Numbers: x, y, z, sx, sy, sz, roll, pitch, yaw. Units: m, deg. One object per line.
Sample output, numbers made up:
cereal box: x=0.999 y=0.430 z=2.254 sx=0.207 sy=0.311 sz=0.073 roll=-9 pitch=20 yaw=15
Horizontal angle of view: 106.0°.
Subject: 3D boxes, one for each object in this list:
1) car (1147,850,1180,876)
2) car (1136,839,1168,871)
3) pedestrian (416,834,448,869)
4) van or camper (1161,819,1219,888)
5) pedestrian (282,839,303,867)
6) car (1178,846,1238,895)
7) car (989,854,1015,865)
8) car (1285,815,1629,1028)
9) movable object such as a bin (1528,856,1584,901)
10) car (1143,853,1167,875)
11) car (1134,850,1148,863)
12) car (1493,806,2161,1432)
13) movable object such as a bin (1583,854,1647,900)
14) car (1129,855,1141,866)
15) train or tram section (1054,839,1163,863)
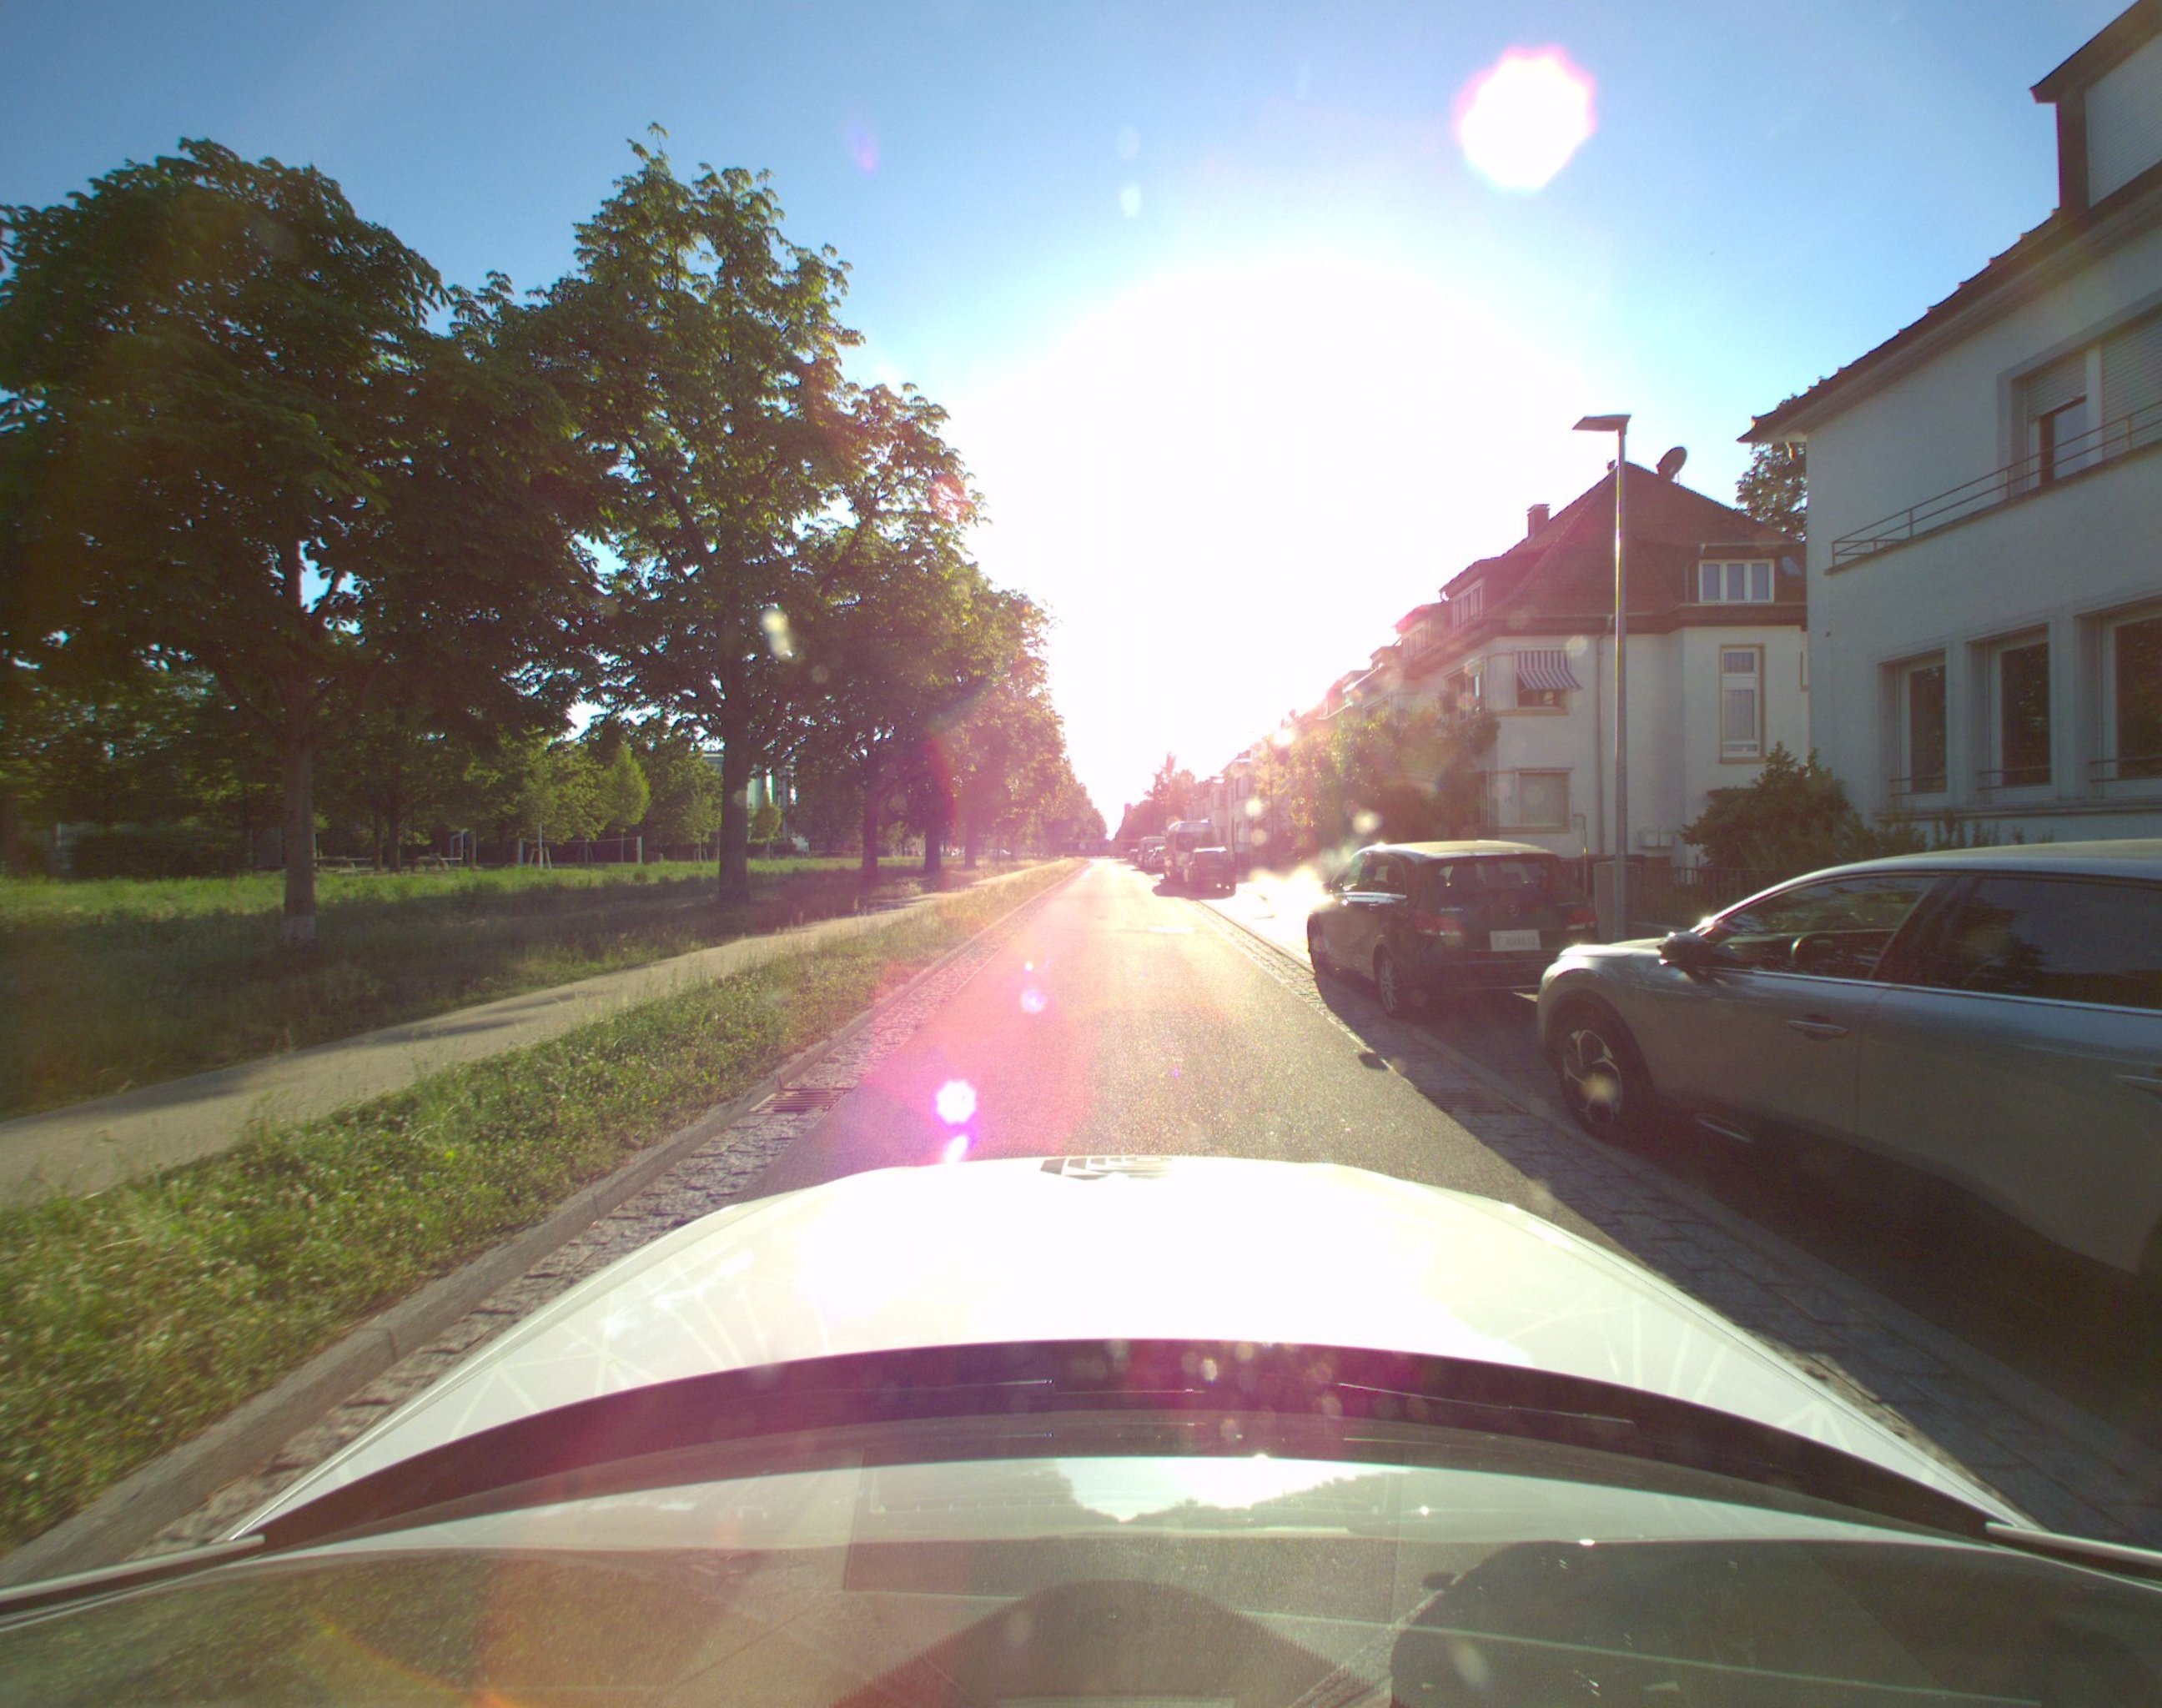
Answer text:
car: x=5.497 y=0.593 z=54.751 sx=1.831 sy=1.636 sz=4.131 roll=-1 pitch=0 yaw=1
car: x=5.734 y=0.072 z=66.345 sx=2.119 sy=2.532 sz=5.188 roll=-1 pitch=0 yaw=0
pedestrian: x=-35.433 y=-0.127 z=44.475 sx=1.044 sy=1.881 sz=0.798 roll=1 pitch=-1 yaw=4
van or camper: x=4.731 y=0.011 z=36.126 sx=1.936 sy=2.777 sz=5.943 roll=1 pitch=-1 yaw=2
pedestrian: x=-41.824 y=-0.061 z=43.199 sx=0.587 sy=1.478 sz=0.499 roll=1 pitch=-1 yaw=-8
car: x=4.545 y=0.573 z=29.741 sx=1.657 sy=1.593 sz=4.088 roll=-2 pitch=0 yaw=2
car: x=-13.552 y=1.008 z=139.841 sx=4.341 sy=1.764 sz=1.995 roll=1 pitch=-1 yaw=-7
car: x=3.664 y=0.538 z=8.947 sx=1.825 sy=1.685 sz=4.418 roll=-3 pitch=0 yaw=2
movable object such as a bin: x=11.920 y=0.602 z=20.455 sx=0.980 sy=1.100 sz=0.790 roll=1 pitch=-1 yaw=5
car: x=5.376 y=0.683 z=59.524 sx=1.643 sy=1.530 sz=3.854 roll=-1 pitch=0 yaw=3
car: x=7.198 y=0.330 z=98.281 sx=1.643 sy=1.530 sz=3.854 roll=-1 pitch=0 yaw=3
car: x=3.526 y=0.641 z=3.066 sx=1.713 sy=1.574 sz=4.208 roll=-2 pitch=0 yaw=-1
movable object such as a bin: x=13.239 y=0.555 z=20.216 sx=1.079 sy=1.100 sz=0.790 roll=1 pitch=-1 yaw=5
car: x=7.656 y=0.916 z=115.149 sx=1.643 sy=1.530 sz=3.854 roll=-1 pitch=0 yaw=3
train or tram section: x=5.000 y=-0.483 z=150.190 sx=19.734 sy=3.956 sz=3.640 roll=1 pitch=-1 yaw=-3
